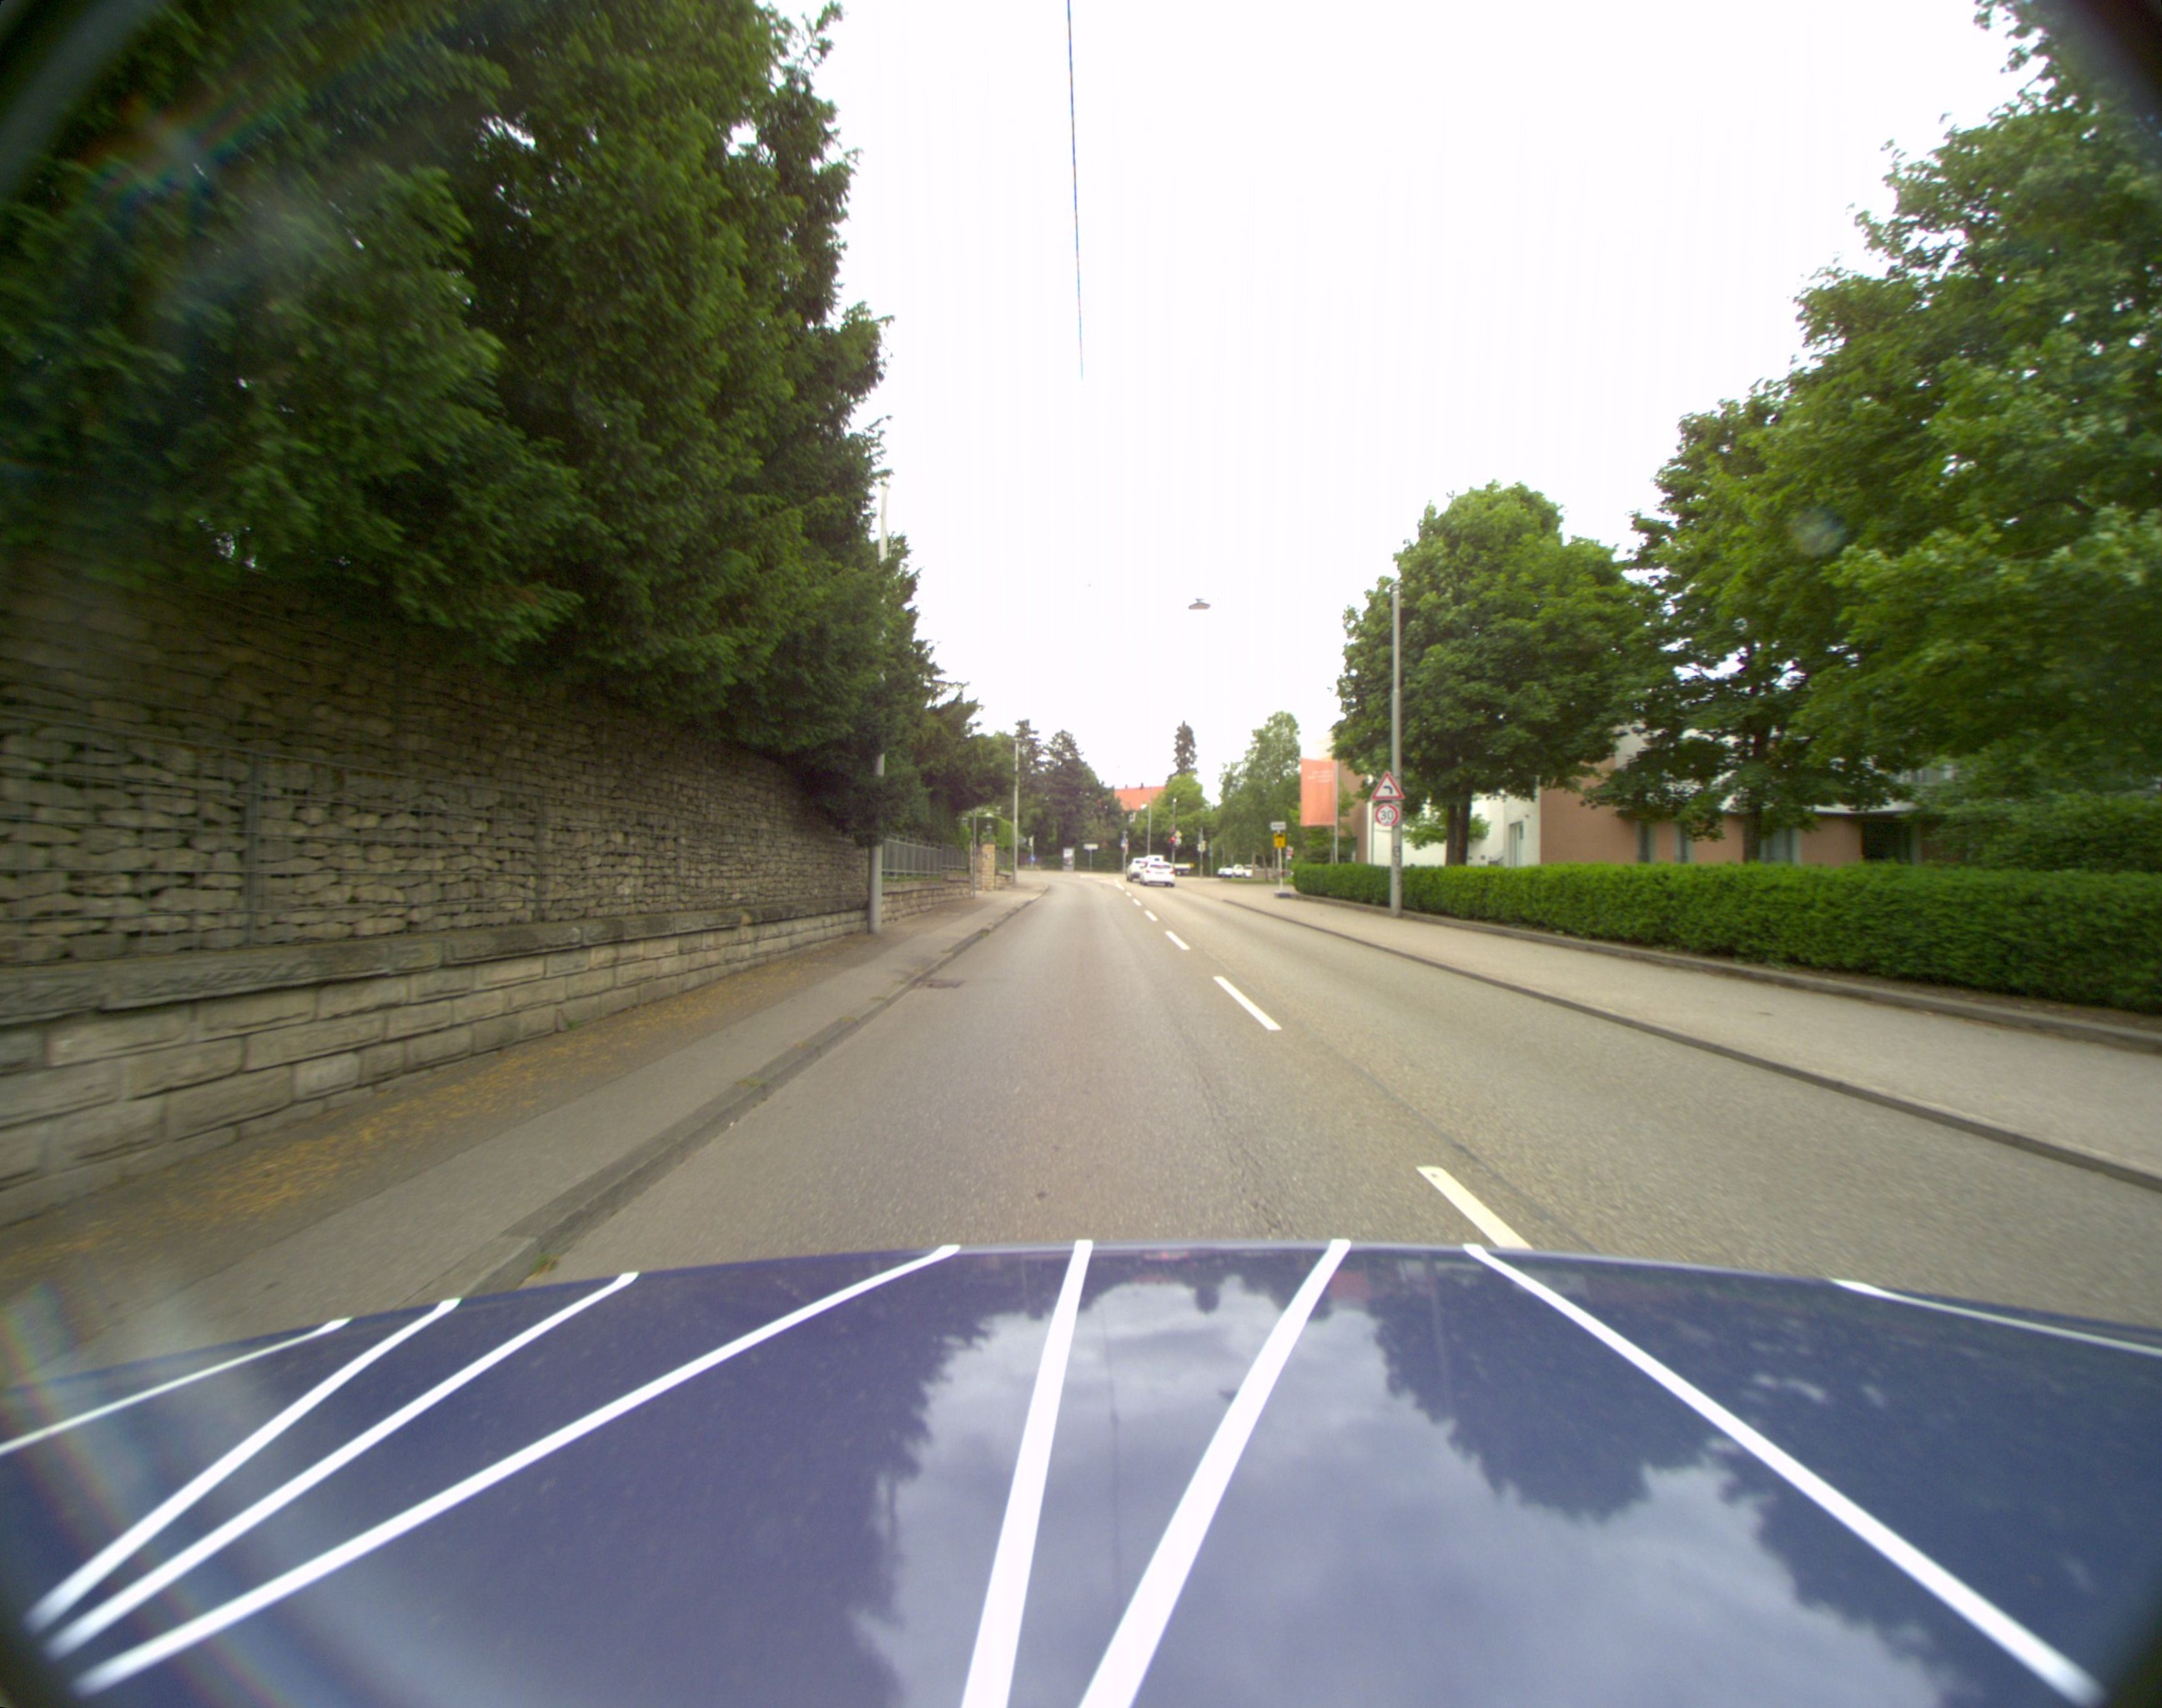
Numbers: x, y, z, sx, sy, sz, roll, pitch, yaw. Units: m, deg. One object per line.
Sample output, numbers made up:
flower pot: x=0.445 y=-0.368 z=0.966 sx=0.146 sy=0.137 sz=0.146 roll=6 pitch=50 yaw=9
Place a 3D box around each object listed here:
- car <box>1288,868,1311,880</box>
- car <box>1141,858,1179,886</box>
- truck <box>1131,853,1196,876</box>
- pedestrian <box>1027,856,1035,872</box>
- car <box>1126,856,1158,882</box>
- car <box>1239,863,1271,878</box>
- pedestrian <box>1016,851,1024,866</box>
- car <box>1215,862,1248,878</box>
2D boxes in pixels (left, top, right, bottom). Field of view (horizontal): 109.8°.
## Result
car: x=31.066 y=2.852 z=107.968 sx=1.866 sy=1.577 sz=3.739 roll=2 pitch=0 yaw=35
car: x=4.591 y=1.021 z=44.763 sx=1.771 sy=1.413 sz=4.065 roll=3 pitch=0 yaw=0
truck: x=9.042 y=1.147 z=83.148 sx=6.706 sy=2.176 sz=2.532 roll=3 pitch=0 yaw=11
pedestrian: x=-5.904 y=1.217 z=89.374 sx=0.611 sy=1.824 sz=0.605 roll=3 pitch=0 yaw=27
car: x=4.070 y=0.979 z=51.413 sx=1.773 sy=1.628 sz=4.302 roll=4 pitch=0 yaw=1
car: x=20.600 y=1.993 z=89.829 sx=1.994 sy=1.603 sz=4.010 roll=2 pitch=0 yaw=39
pedestrian: x=-7.135 y=0.553 z=89.234 sx=0.665 sy=1.777 sz=0.614 roll=3 pitch=0 yaw=28
car: x=16.948 y=1.825 z=85.549 sx=1.994 sy=1.603 sz=4.010 roll=2 pitch=0 yaw=39
